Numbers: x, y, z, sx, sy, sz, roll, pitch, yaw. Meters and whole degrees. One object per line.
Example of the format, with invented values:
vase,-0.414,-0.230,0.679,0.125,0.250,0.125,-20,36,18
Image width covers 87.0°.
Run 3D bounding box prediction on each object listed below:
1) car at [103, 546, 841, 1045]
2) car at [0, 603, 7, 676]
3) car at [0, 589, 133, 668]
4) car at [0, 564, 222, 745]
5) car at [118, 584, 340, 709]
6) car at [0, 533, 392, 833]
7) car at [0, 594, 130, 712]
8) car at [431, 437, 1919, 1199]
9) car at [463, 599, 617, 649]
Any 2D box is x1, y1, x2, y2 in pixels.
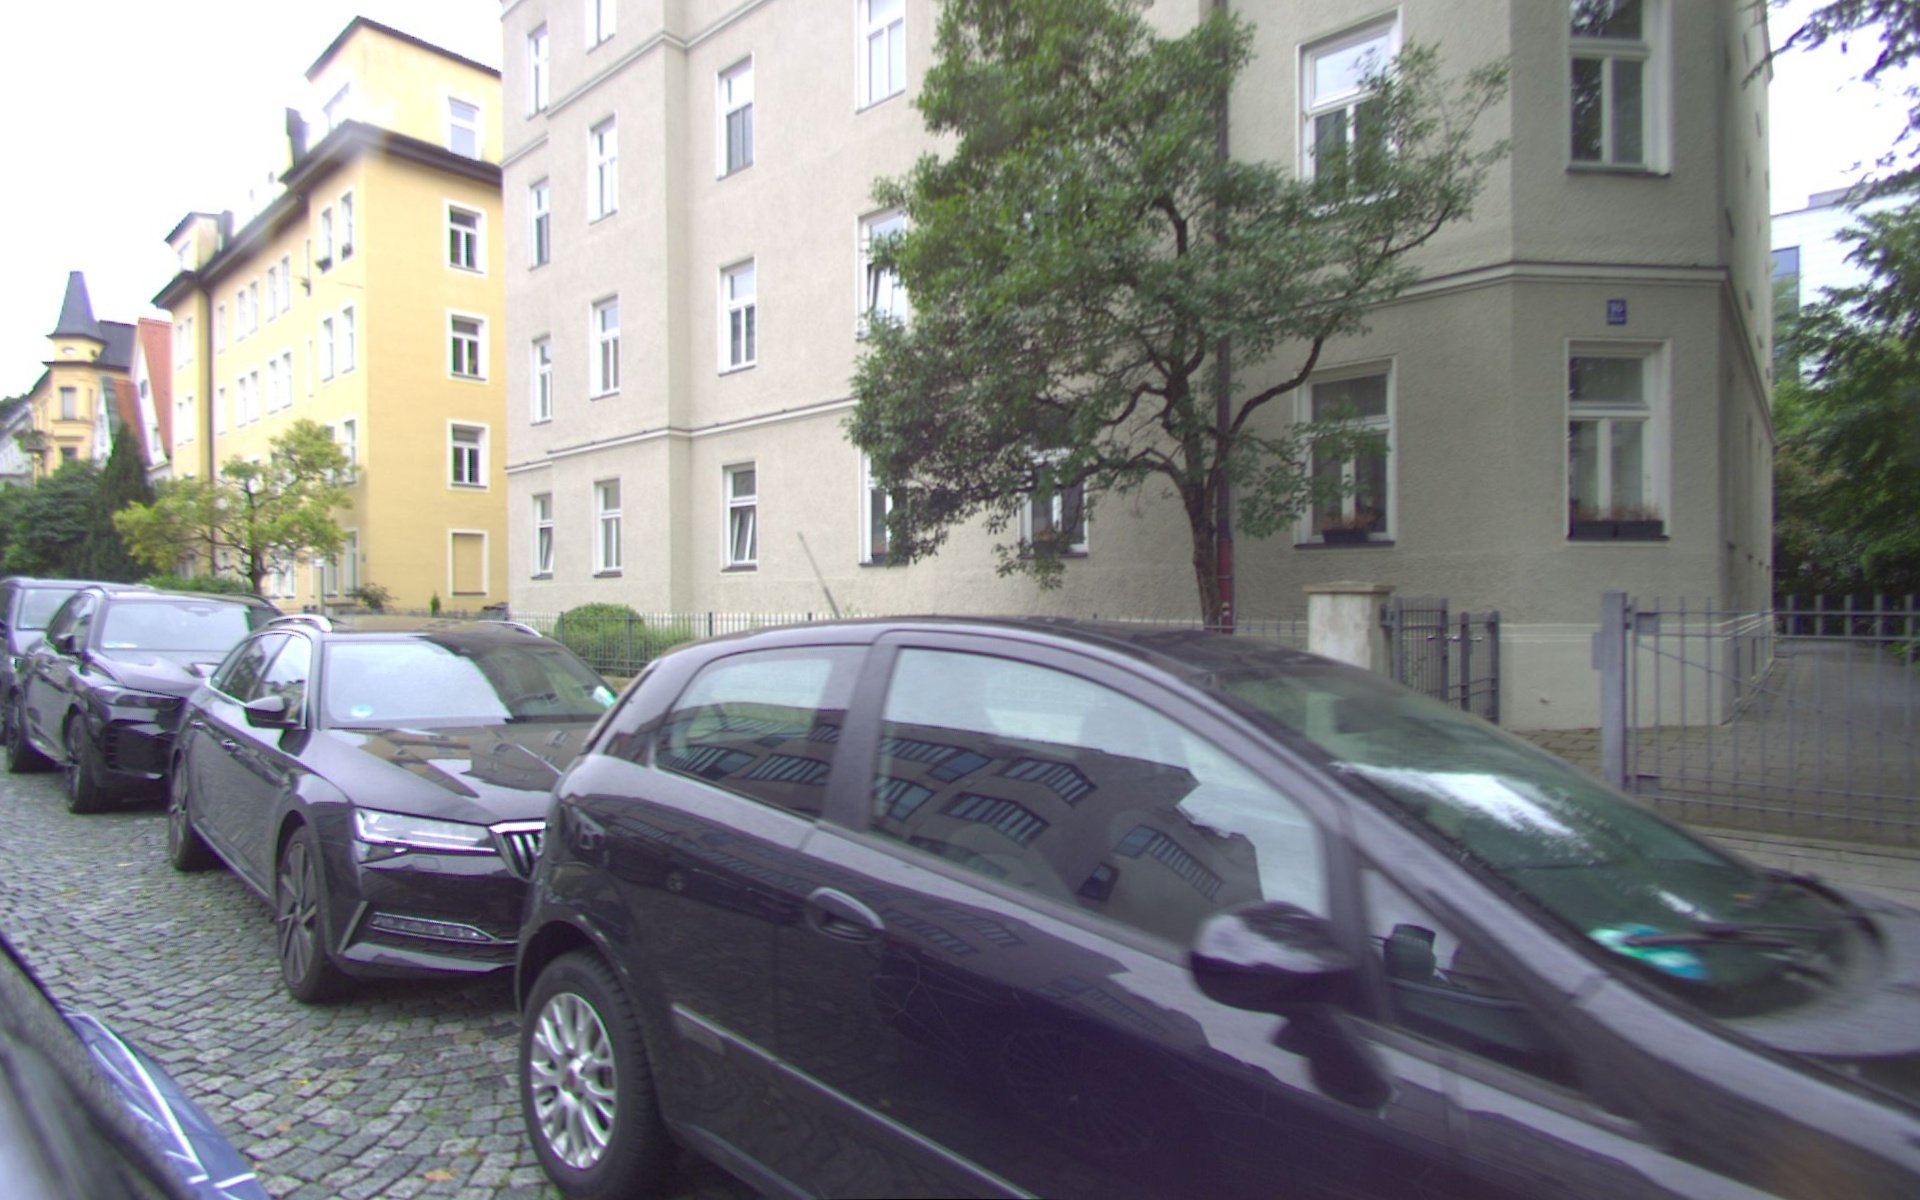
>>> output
car,-3.058,0.662,5.627,5.016,1.573,1.957,-1,-2,42
car,-25.574,0.920,25.432,4.754,1.748,1.897,-1,-4,42
car,-24.828,0.740,28.049,5.326,1.945,1.974,-1,1,40
car,-11.397,0.636,13.117,4.824,1.932,1.854,-1,-2,40
car,-12.421,0.696,17.085,4.654,1.747,1.925,-1,3,40
car,-7.149,0.605,8.960,5.174,1.932,1.972,-1,-3,40
car,-15.600,0.836,16.858,4.398,1.748,1.847,-1,-3,39
car,0.686,0.594,2.138,4.166,1.455,1.646,-1,-1,38
car,-12.915,0.694,31.310,1.833,1.434,4.025,0,0,42
